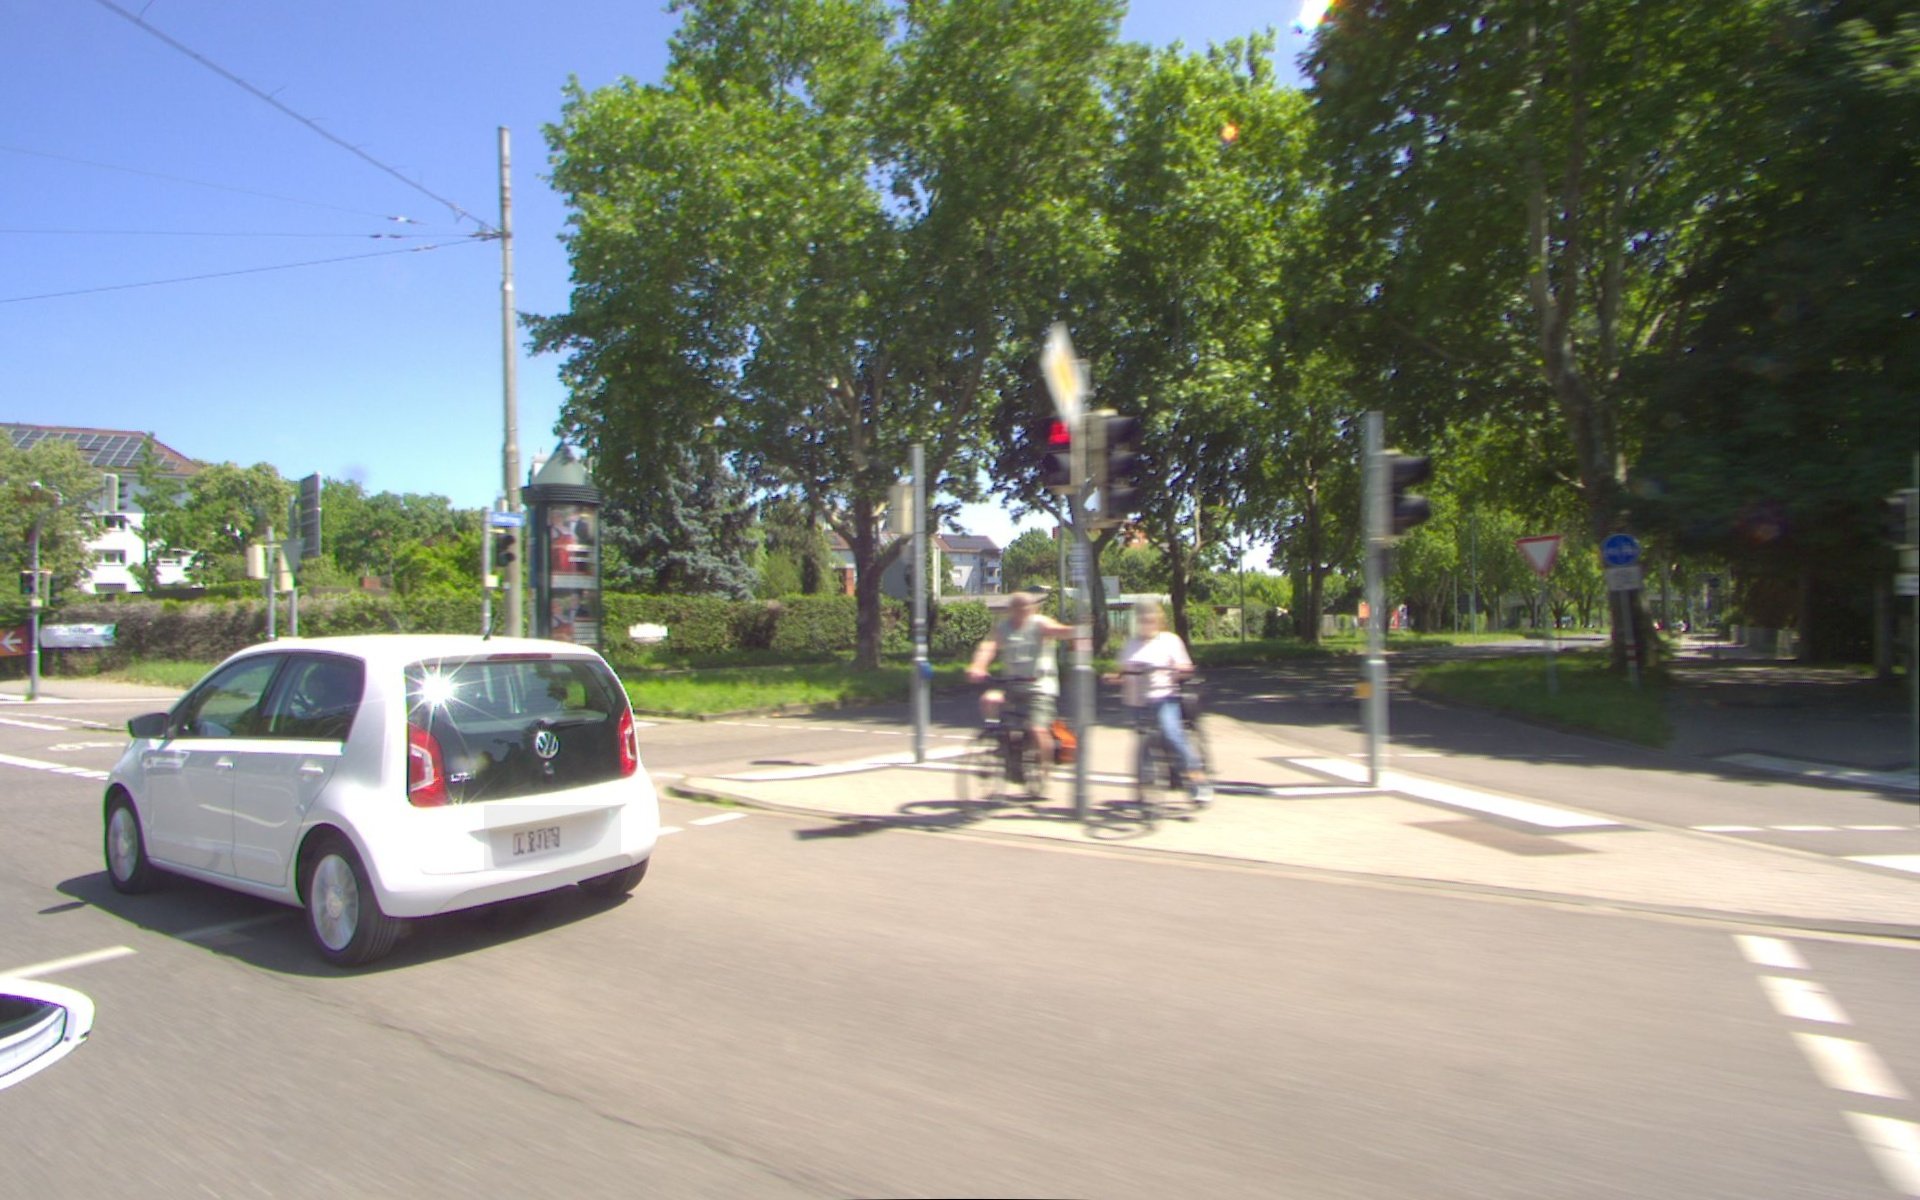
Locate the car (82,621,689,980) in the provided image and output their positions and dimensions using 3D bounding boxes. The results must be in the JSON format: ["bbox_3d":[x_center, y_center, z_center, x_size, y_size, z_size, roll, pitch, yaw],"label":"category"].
[{"bbox_3d":[-3.349,0.881,5.728,3.386,1.465,1.607,-1,-2,32],"label":"car"}]

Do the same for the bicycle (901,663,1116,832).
[{"bbox_3d":[0.460,1.145,8.379,0.883,1.174,1.944,-1,-2,36],"label":"bicycle"}]

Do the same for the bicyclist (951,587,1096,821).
[{"bbox_3d":[0.529,0.826,8.338,0.964,1.811,0.722,-1,-1,36],"label":"bicyclist"}]

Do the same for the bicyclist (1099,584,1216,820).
[{"bbox_3d":[1.605,0.803,8.149,0.759,1.810,0.574,-1,-3,40],"label":"bicyclist"}]

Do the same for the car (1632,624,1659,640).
[{"bbox_3d":[66.721,3.135,97.509,1.690,1.463,3.357,-2,-4,43],"label":"car"}]

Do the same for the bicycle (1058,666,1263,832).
[{"bbox_3d":[1.682,1.132,8.190,0.884,1.139,1.859,-1,-2,39],"label":"bicycle"}]
